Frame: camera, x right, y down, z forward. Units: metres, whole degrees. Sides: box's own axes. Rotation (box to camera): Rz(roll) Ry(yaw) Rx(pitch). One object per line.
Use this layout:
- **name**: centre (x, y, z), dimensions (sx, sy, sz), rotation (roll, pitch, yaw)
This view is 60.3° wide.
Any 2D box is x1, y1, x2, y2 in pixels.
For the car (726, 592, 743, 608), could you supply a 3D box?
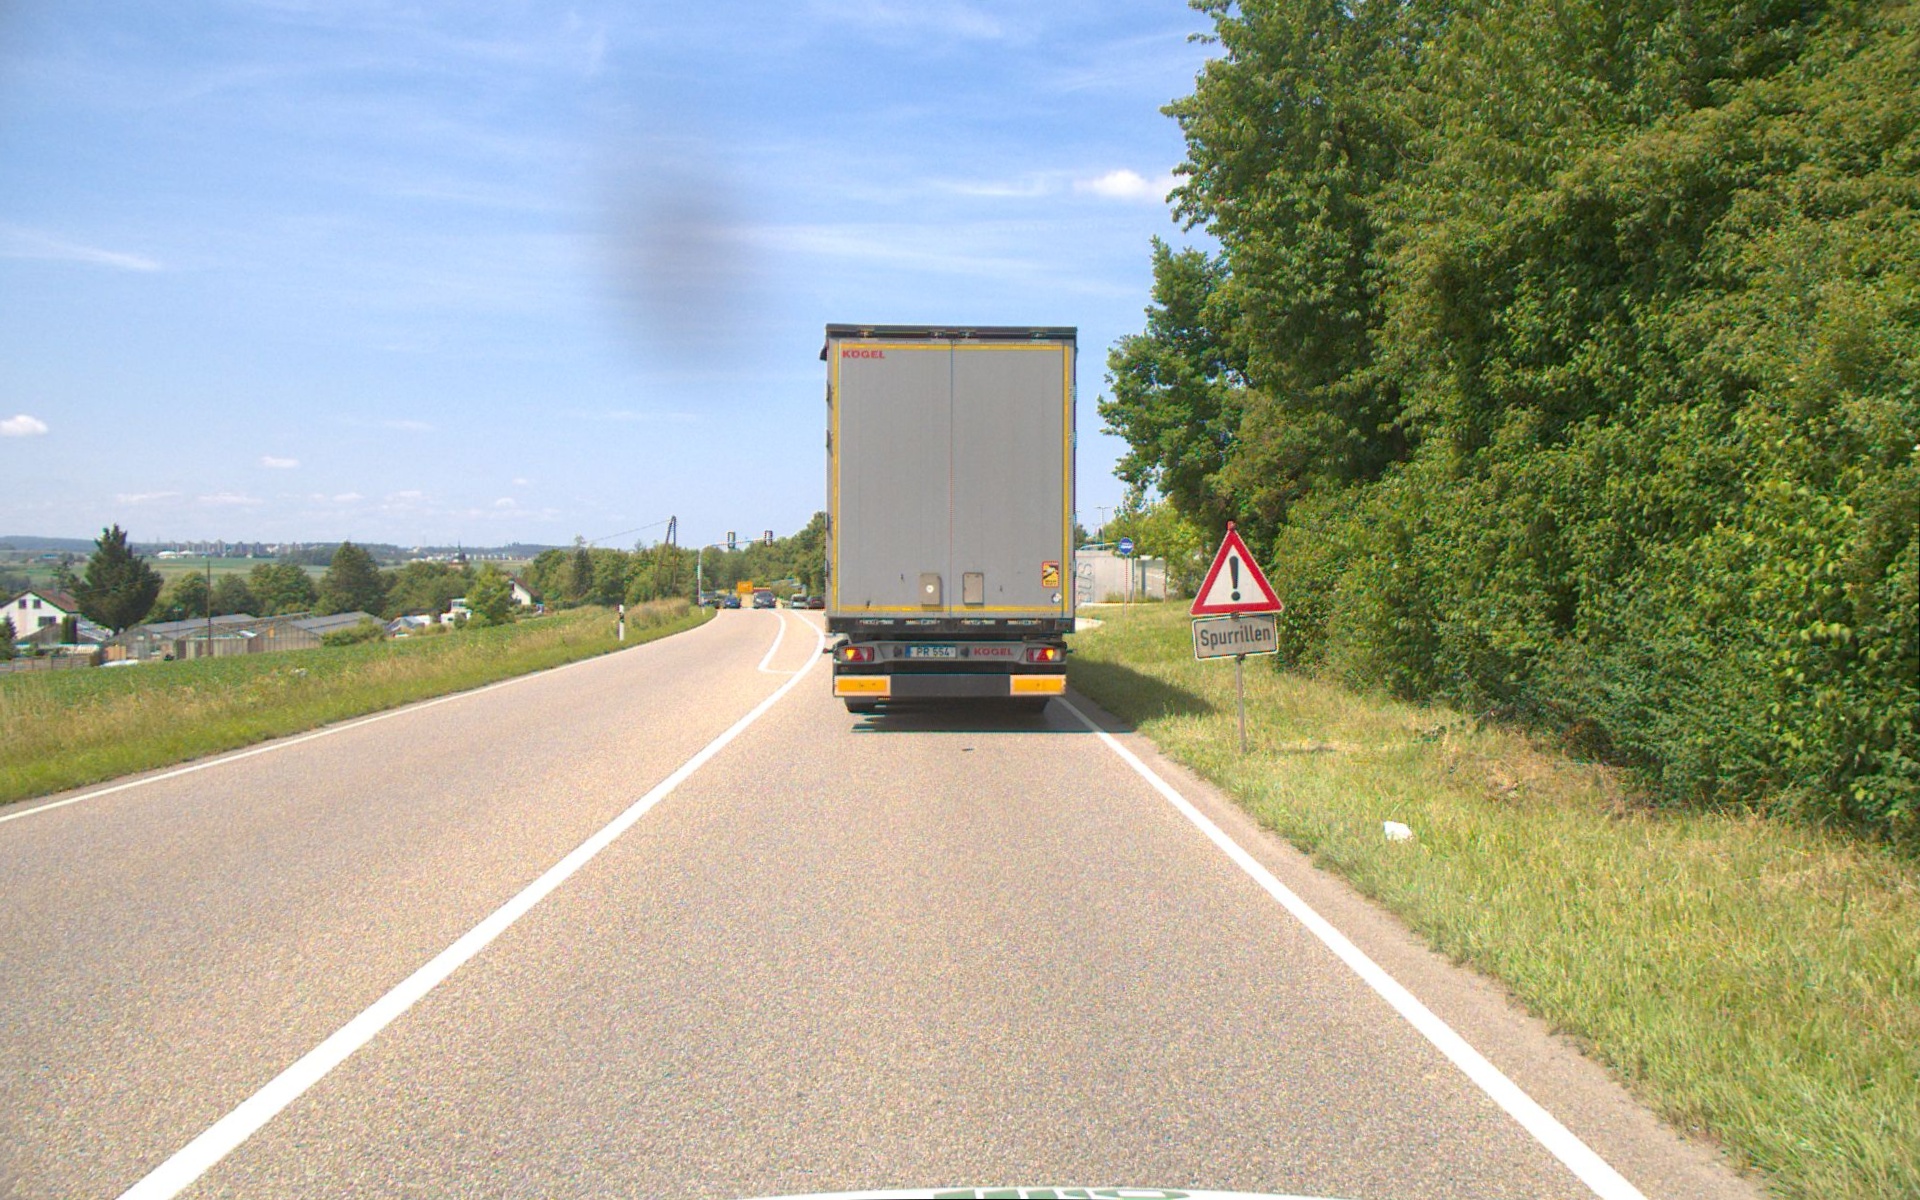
- **car**: centre (-27.249, -0.013, 200.081), dimensions (1.956, 1.847, 4.288), rotation (-2, 1, -8)

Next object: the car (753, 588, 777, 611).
- **car**: centre (-17.541, -0.066, 148.709), dimensions (1.955, 1.984, 4.497), rotation (-2, 0, -5)

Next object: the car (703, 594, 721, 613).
- **car**: centre (-28.302, 0.376, 188.804), dimensions (1.957, 2.013, 5.268), rotation (-2, 1, -9)

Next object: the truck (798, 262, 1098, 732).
- **truck**: centre (-0.313, -1.032, 20.345), dimensions (2.849, 4.487, 8.855), rotation (1, 1, -3)

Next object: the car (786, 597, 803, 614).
- **car**: centre (-19.053, 0.616, 190.886), dimensions (1.855, 1.808, 4.382), rotation (-2, 0, -5)

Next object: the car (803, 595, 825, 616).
- **car**: centre (-15.166, 0.573, 172.131), dimensions (2.129, 2.049, 4.522), rotation (-2, 0, -5)
